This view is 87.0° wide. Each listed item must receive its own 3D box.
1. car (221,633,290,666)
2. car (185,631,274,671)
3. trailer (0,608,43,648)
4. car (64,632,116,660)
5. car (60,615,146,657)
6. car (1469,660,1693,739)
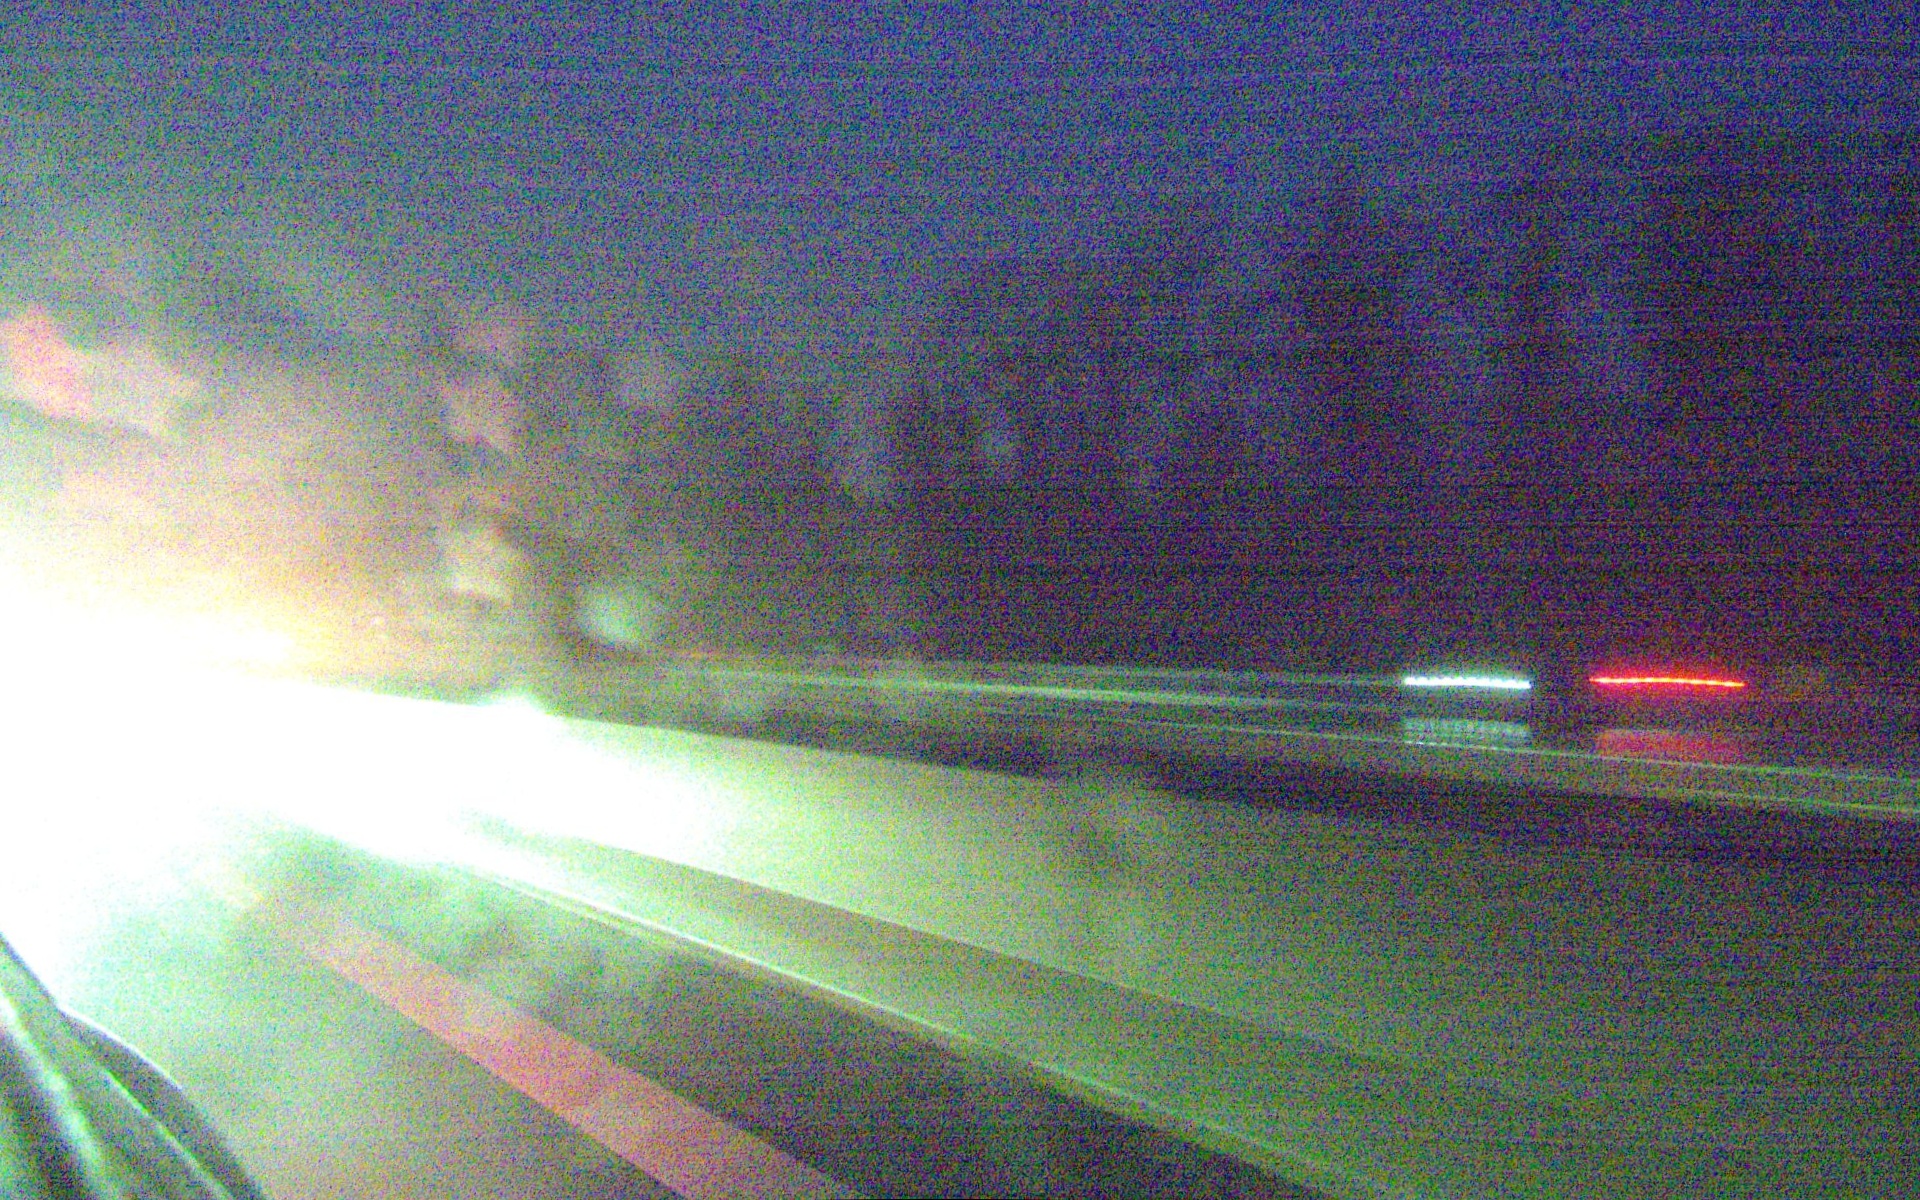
[{"bbox_3d":[-37.211,2.593,53.382,4.498,1.629,1.853,-2,-3,40],"label":"car"},{"bbox_3d":[-31.535,2.183,43.648,4.742,1.629,1.973,-2,-3,40],"label":"car"},{"bbox_3d":[-109.485,3.360,117.360,15.708,4.337,2.856,-3,-2,41],"label":"trailer"},{"bbox_3d":[-52.368,2.730,60.888,5.125,1.594,1.633,-2,-1,41],"label":"car"},{"bbox_3d":[-35.502,1.496,41.906,4.414,1.629,1.973,-2,-3,40],"label":"car"},{"bbox_3d":[14.596,2.274,23.883,4.347,1.482,1.846,-1,0,37],"label":"car"}]
